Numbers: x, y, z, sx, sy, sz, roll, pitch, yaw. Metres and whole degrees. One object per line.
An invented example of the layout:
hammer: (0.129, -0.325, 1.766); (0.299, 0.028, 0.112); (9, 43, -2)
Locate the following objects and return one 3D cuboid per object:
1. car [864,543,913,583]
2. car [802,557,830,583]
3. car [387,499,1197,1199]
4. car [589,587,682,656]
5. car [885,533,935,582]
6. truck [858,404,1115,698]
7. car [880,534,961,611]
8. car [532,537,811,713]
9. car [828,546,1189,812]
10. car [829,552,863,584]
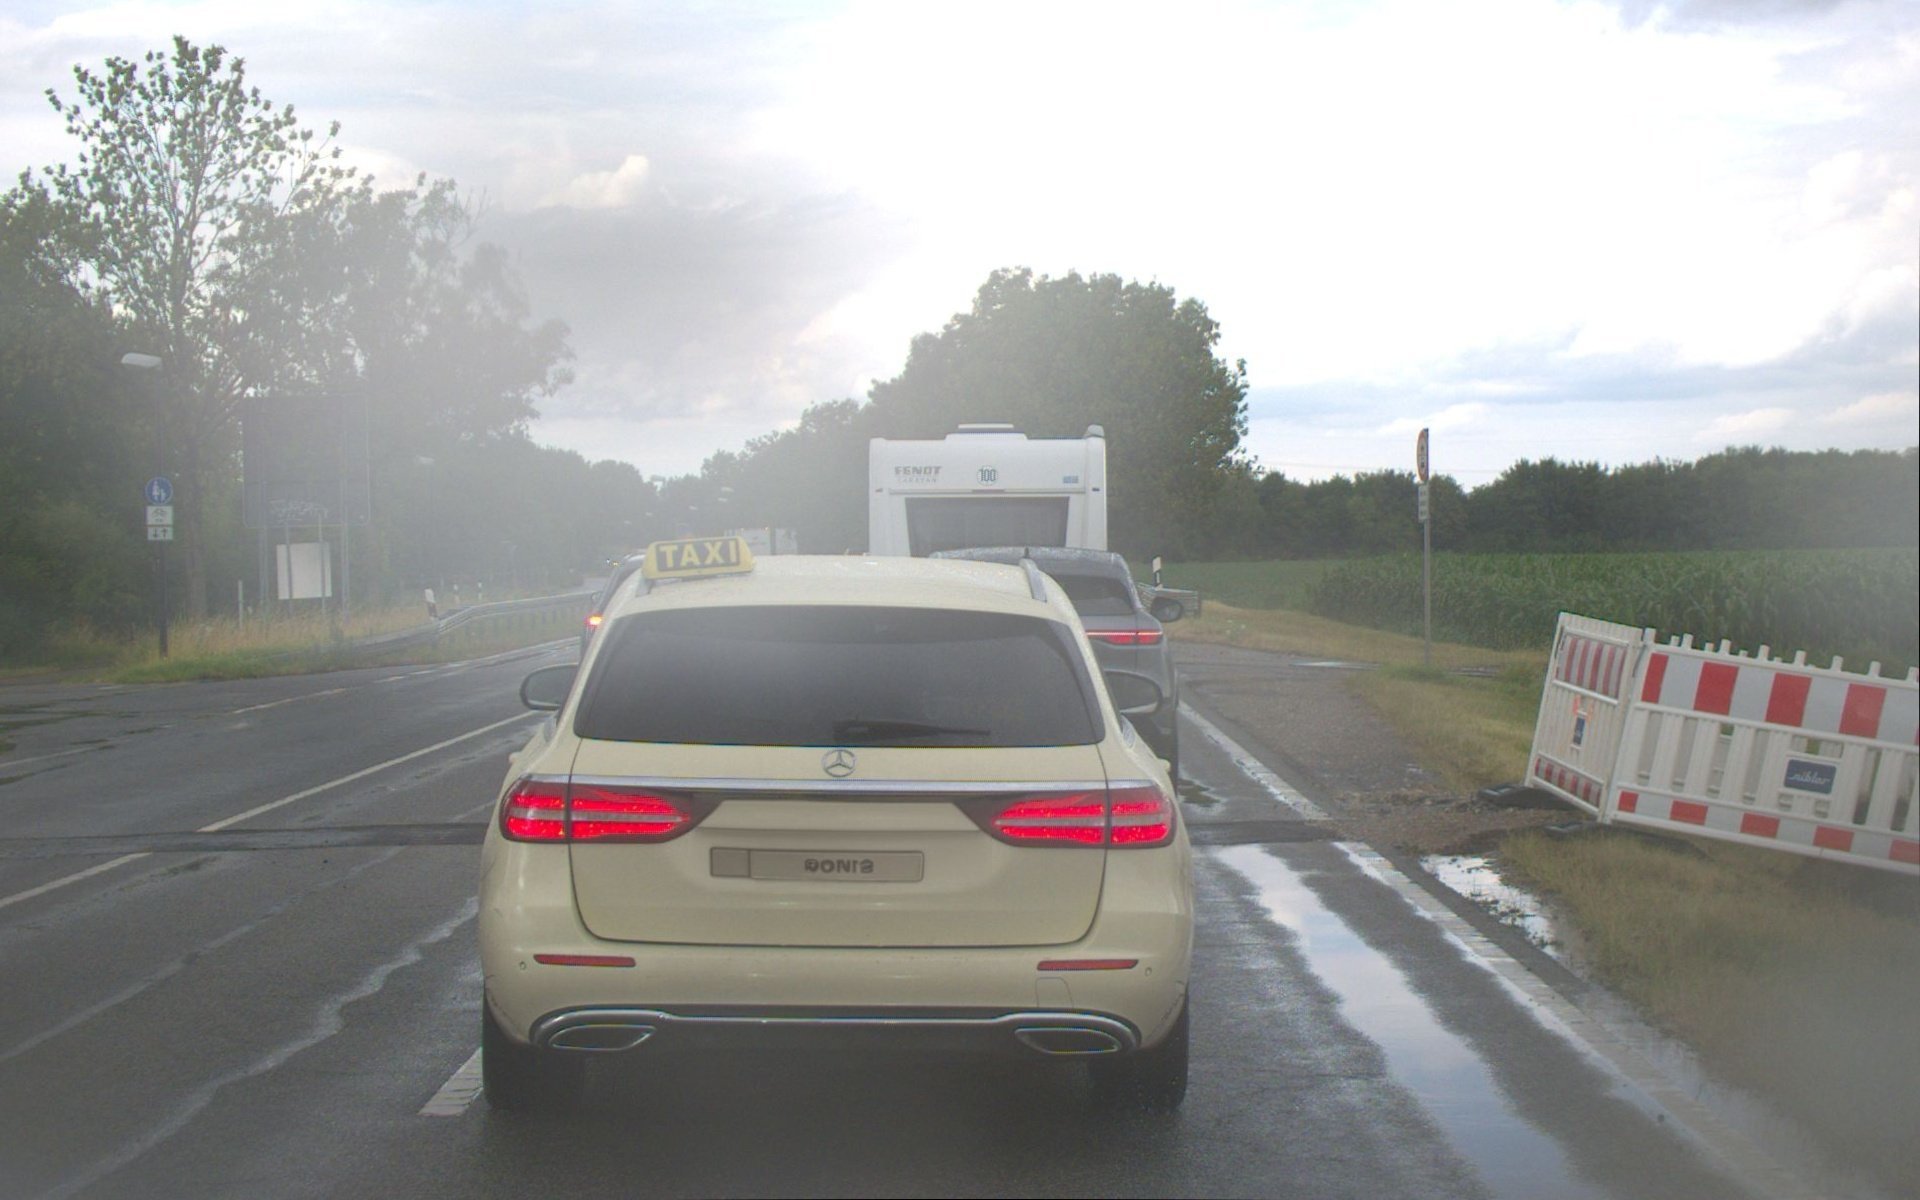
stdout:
car: (-3.235, -1.679, 155.221); (1.993, 1.766, 4.001); (-1, 1, -4)
car: (-10.565, -2.207, 252.574); (1.895, 1.833, 3.882); (-1, 1, 0)
car: (-0.397, 0.554, 9.842); (1.842, 1.612, 4.000); (0, 1, 0)
car: (-7.264, 0.464, 77.325); (1.719, 1.399, 4.044); (-3, 1, -1)
car: (-1.874, -1.603, 129.663); (1.791, 1.771, 3.721); (-1, 1, 0)
truck: (0.231, -0.521, 35.991); (2.363, 2.719, 7.314); (-1, 1, 0)
car: (-0.964, -0.700, 85.046); (1.915, 1.834, 3.796); (-1, 1, 0)
car: (-2.684, 0.199, 33.114); (2.302, 1.542, 4.632); (1, 1, 0)
car: (0.256, 0.420, 21.184); (1.993, 1.457, 4.000); (1, 1, 0)
car: (-6.966, -1.957, 209.748); (1.895, 1.888, 3.844); (-1, 1, -3)
